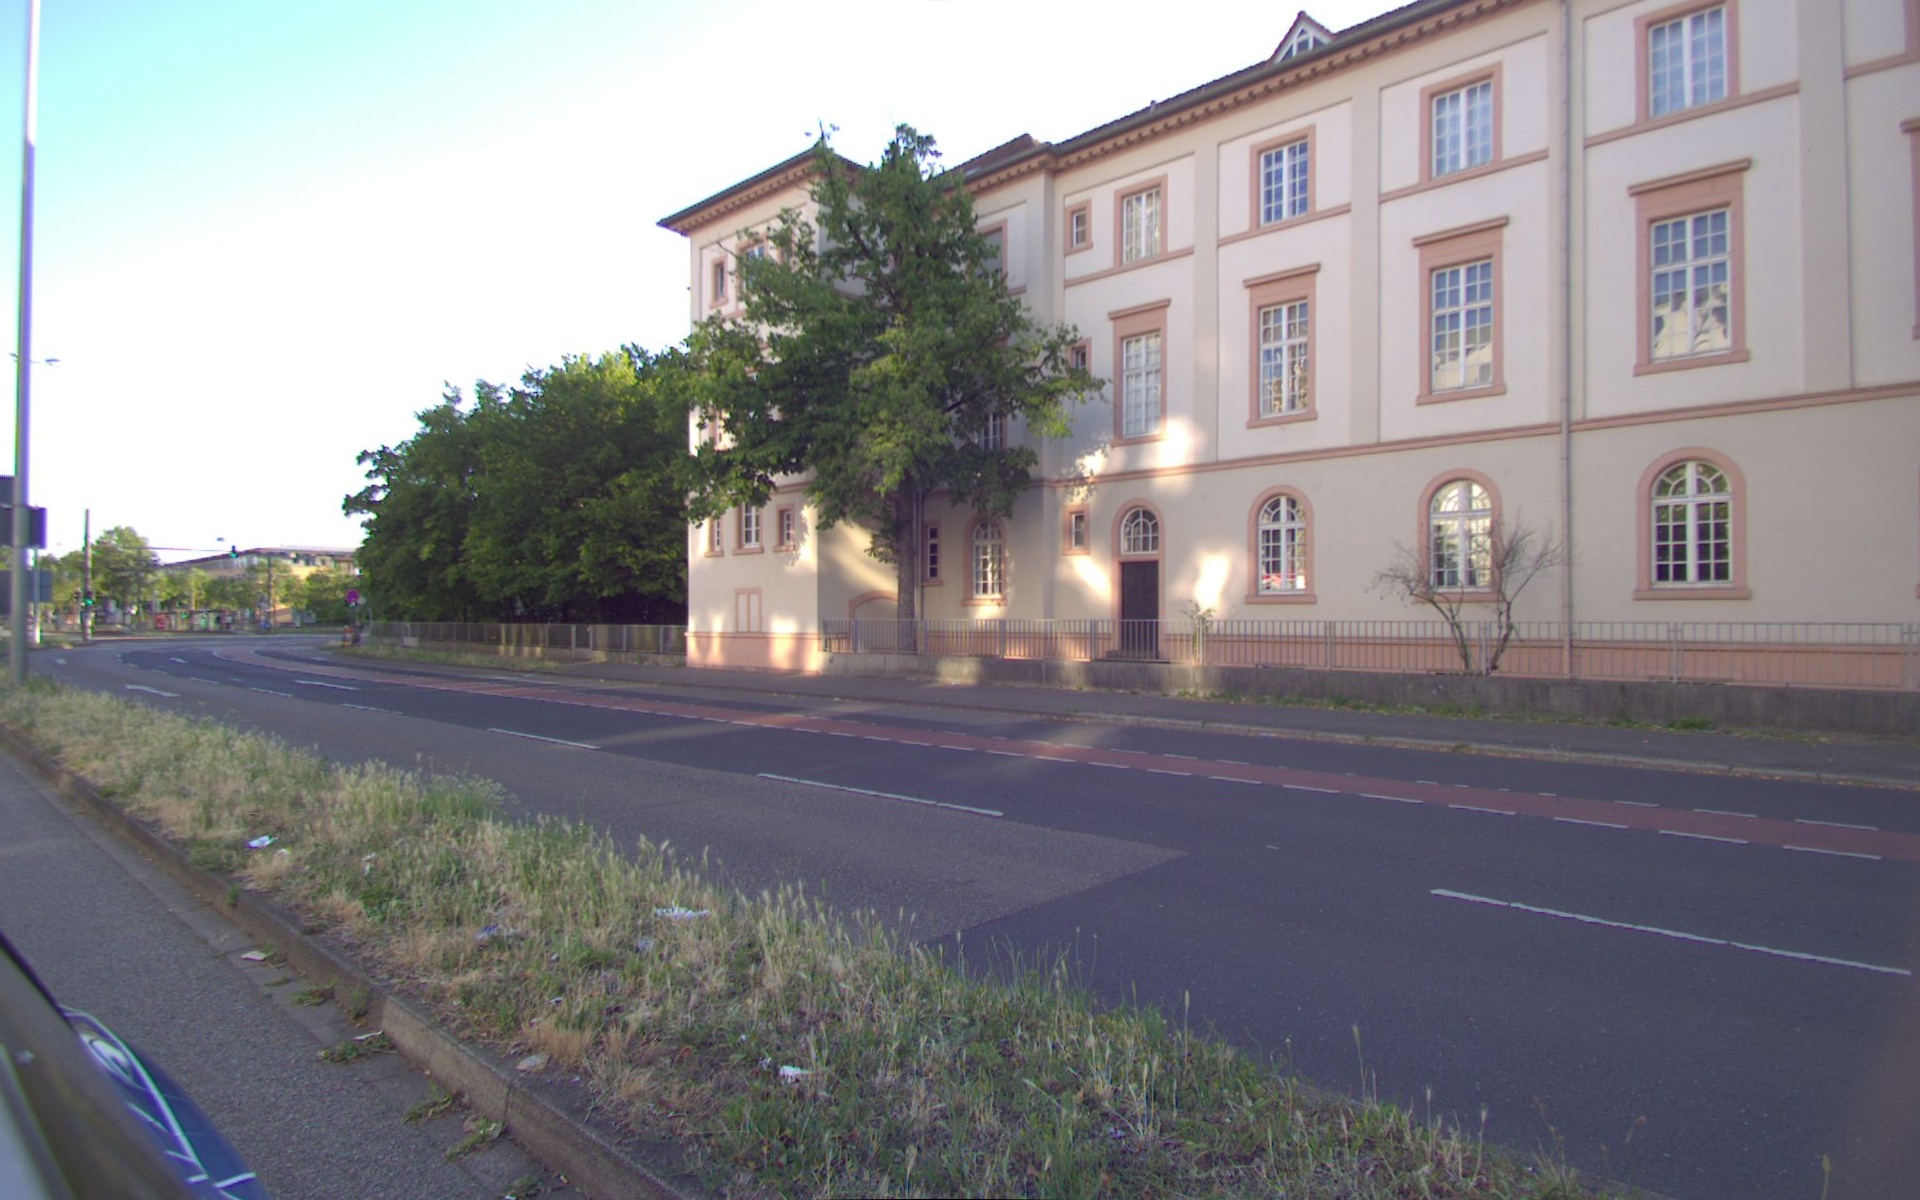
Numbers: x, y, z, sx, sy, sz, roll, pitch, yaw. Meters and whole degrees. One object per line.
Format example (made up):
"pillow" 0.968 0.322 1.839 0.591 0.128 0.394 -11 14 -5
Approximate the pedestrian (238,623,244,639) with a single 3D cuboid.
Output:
"pedestrian" -81.336 3.519 114.509 0.419 1.718 0.461 -1 -2 41
